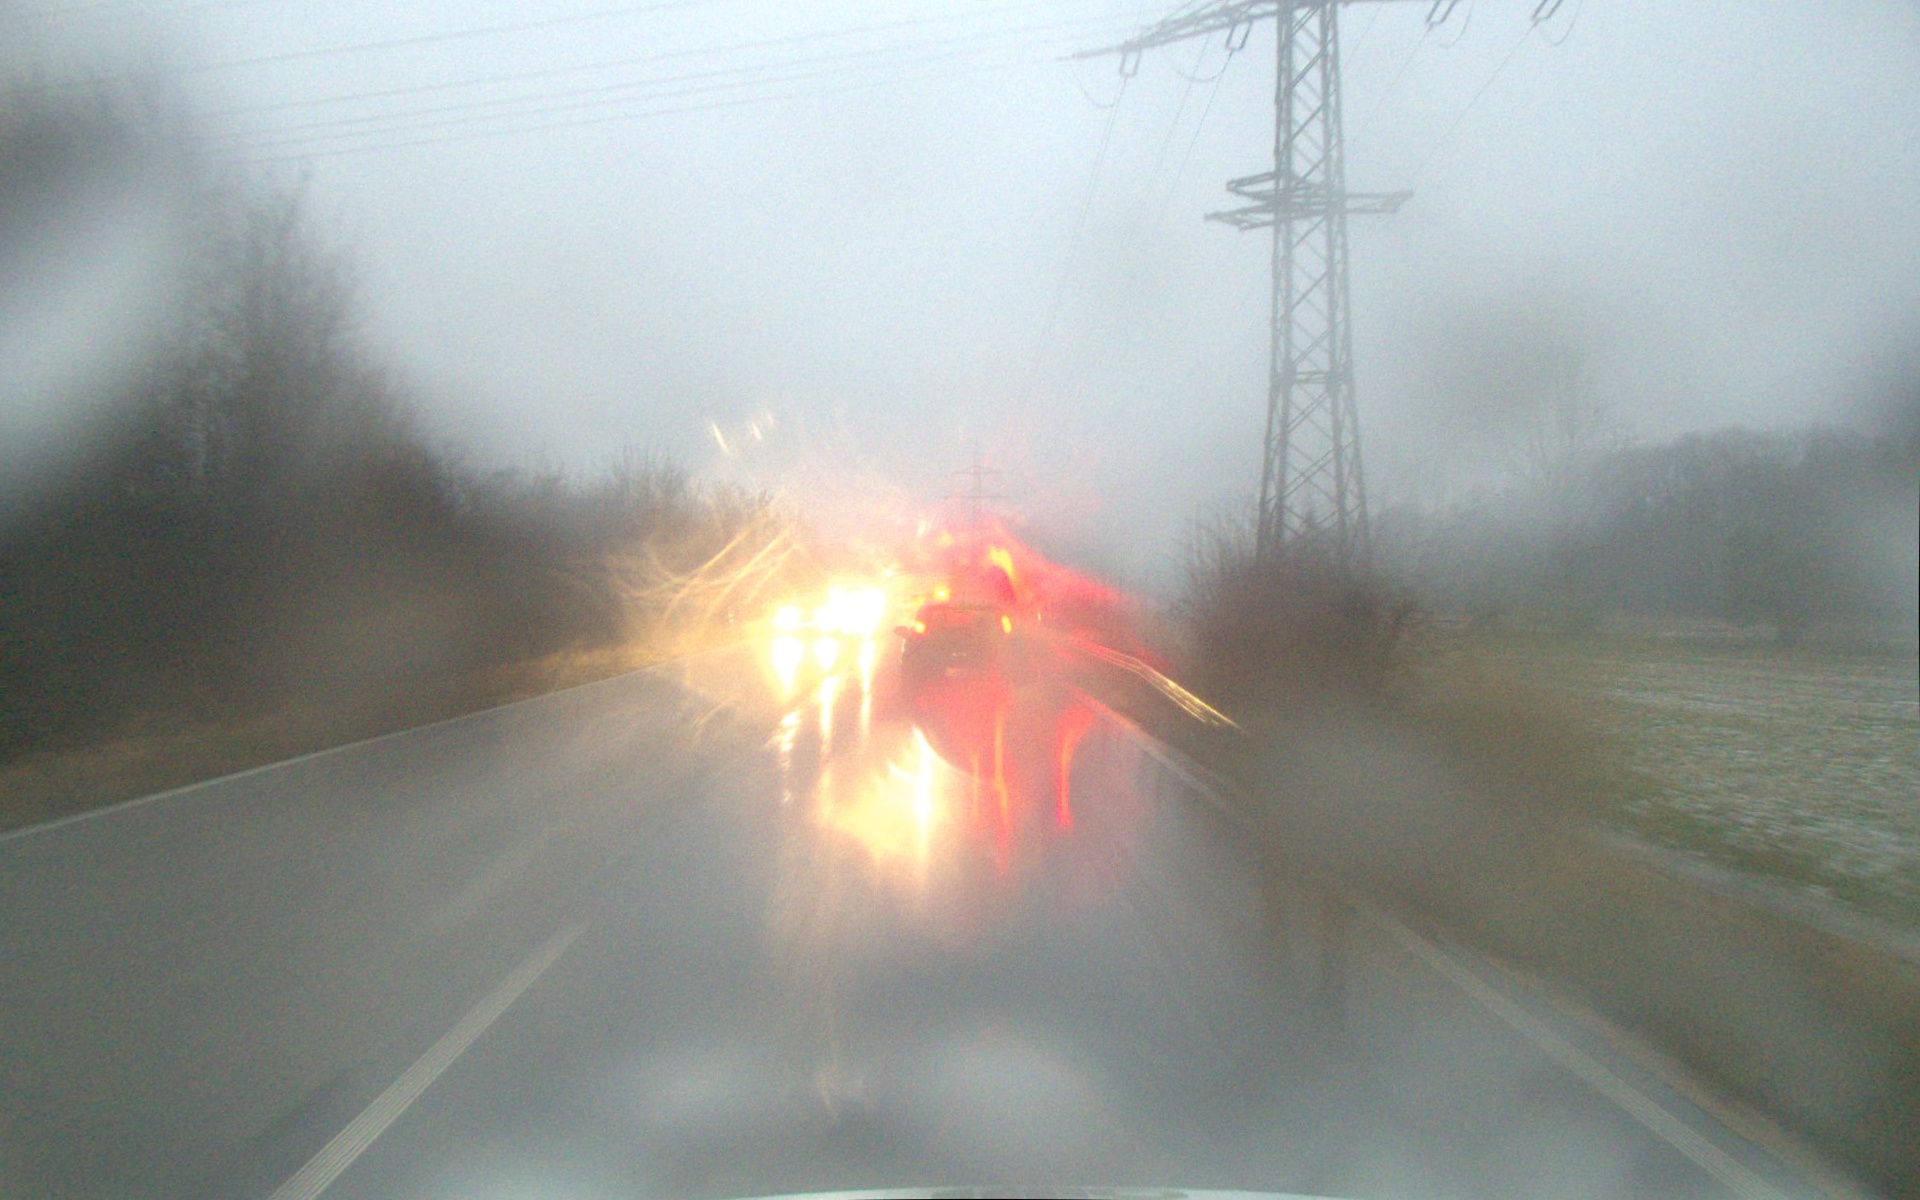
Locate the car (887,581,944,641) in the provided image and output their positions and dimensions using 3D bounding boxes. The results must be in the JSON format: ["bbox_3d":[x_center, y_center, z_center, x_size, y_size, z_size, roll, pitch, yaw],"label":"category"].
[{"bbox_3d":[-1.568,0.382,59.385,1.953,2.049,3.999,0,0,-1],"label":"car"}]

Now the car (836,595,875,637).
[{"bbox_3d":[-5.520,0.877,87.713,1.791,2.156,3.999,1,-2,-1],"label":"car"}]

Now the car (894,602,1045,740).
[{"bbox_3d":[0.088,0.921,23.472,1.953,1.783,3.999,0,0,-1],"label":"car"}]

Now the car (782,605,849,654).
[{"bbox_3d":[-4.543,0.949,52.511,1.791,1.434,3.999,1,-2,-1],"label":"car"}]
